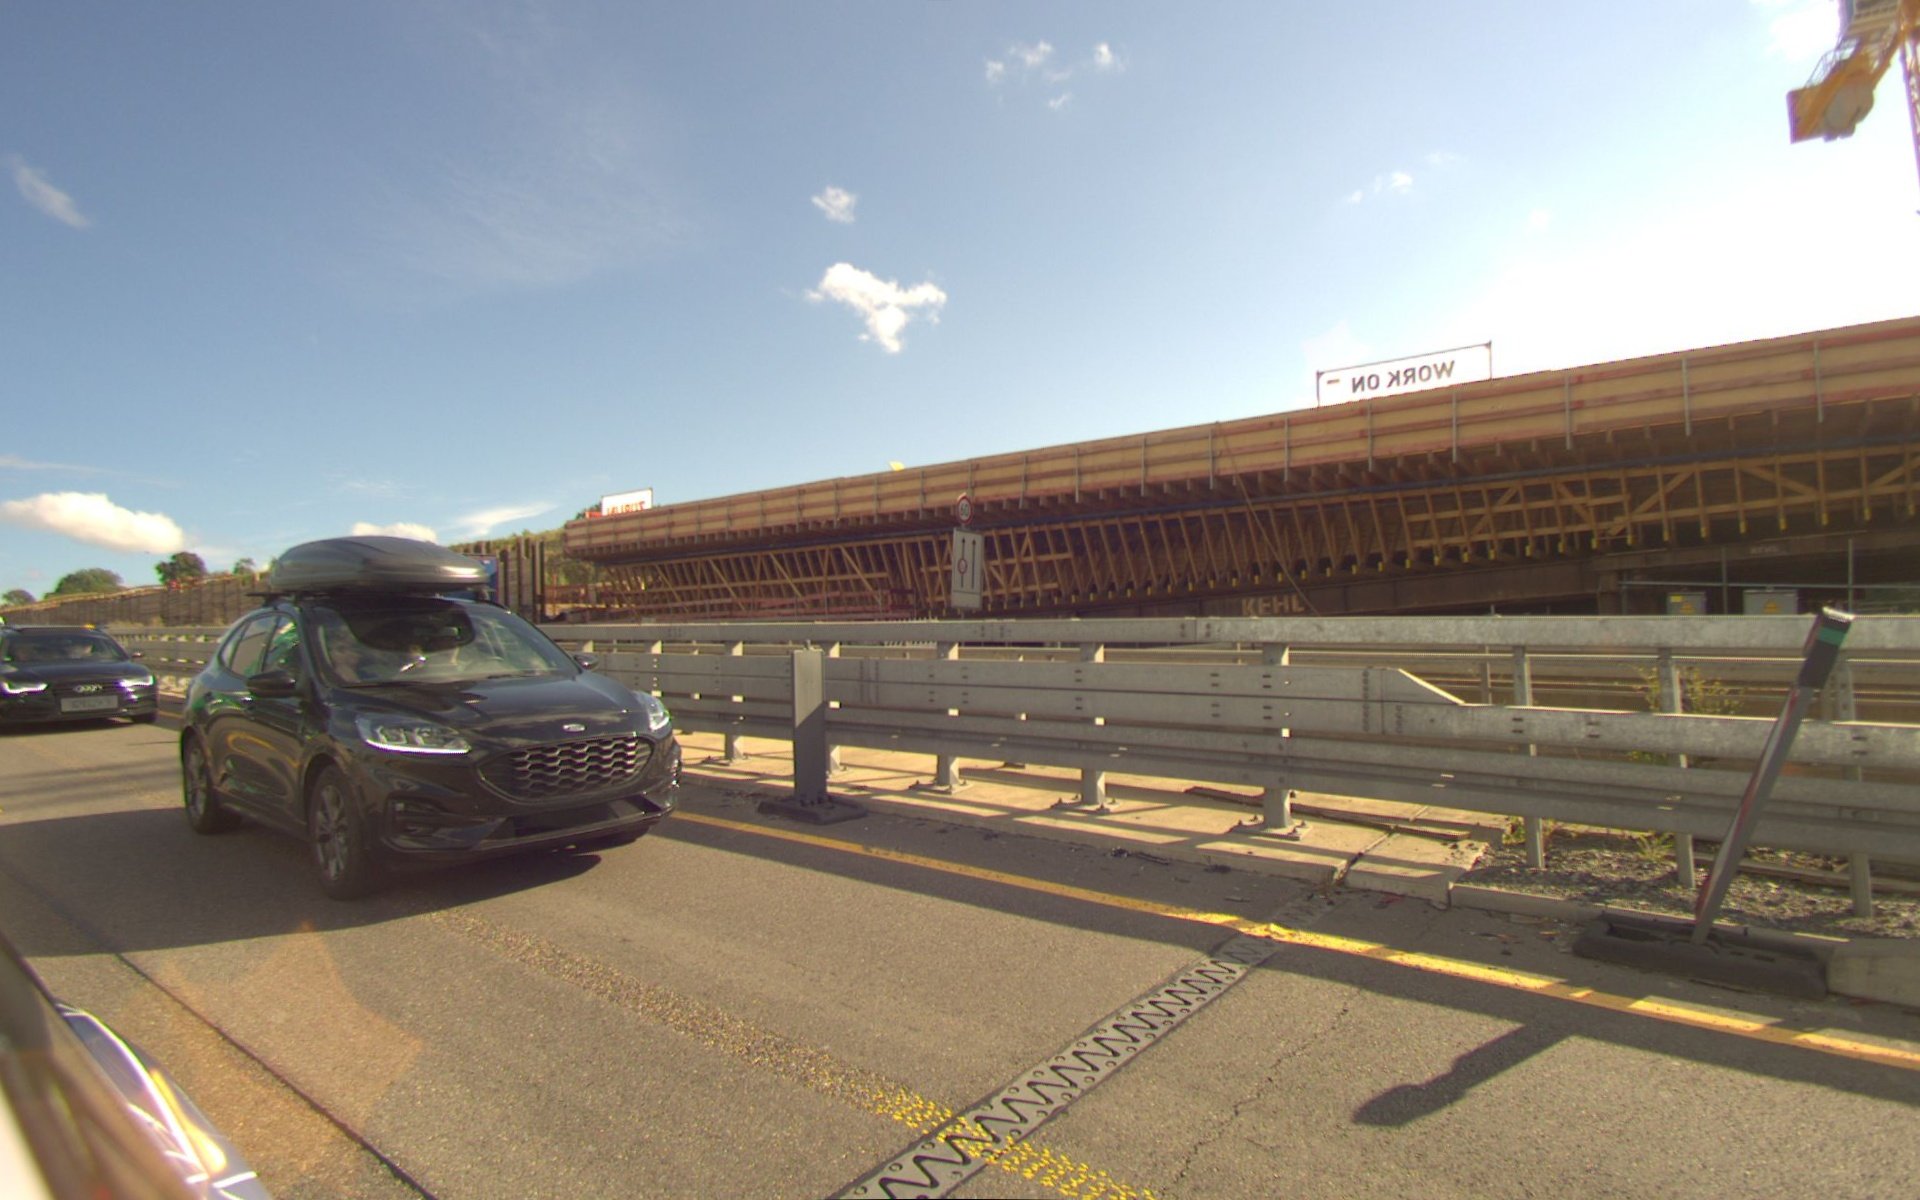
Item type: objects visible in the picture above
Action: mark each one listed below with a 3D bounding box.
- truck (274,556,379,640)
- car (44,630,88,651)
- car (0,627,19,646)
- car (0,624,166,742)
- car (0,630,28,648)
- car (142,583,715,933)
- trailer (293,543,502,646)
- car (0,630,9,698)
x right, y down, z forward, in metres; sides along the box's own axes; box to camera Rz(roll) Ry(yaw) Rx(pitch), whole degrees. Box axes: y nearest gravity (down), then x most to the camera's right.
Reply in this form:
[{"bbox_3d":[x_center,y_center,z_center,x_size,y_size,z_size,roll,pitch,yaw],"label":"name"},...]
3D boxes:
[{"bbox_3d":[-29.247,-0.090,46.663,4.808,3.656,2.813,-1,0,41],"label":"truck"},{"bbox_3d":[-70.924,3.228,80.267,4.404,1.441,1.925,0,2,39],"label":"car"},{"bbox_3d":[-78.766,3.002,82.828,4.404,1.441,1.925,0,2,39],"label":"car"},{"bbox_3d":[-13.682,1.127,15.220,4.502,1.441,1.924,0,0,41],"label":"car"},{"bbox_3d":[-89.617,3.675,95.432,4.404,1.441,1.925,0,2,39],"label":"car"},{"bbox_3d":[-3.675,0.749,6.605,4.380,1.554,1.781,-2,-1,40],"label":"car"},{"bbox_3d":[-23.629,-0.162,41.907,13.516,3.694,2.834,-1,0,40],"label":"trailer"},{"bbox_3d":[-22.667,1.450,22.344,4.405,1.441,1.924,-1,1,41],"label":"car"}]
